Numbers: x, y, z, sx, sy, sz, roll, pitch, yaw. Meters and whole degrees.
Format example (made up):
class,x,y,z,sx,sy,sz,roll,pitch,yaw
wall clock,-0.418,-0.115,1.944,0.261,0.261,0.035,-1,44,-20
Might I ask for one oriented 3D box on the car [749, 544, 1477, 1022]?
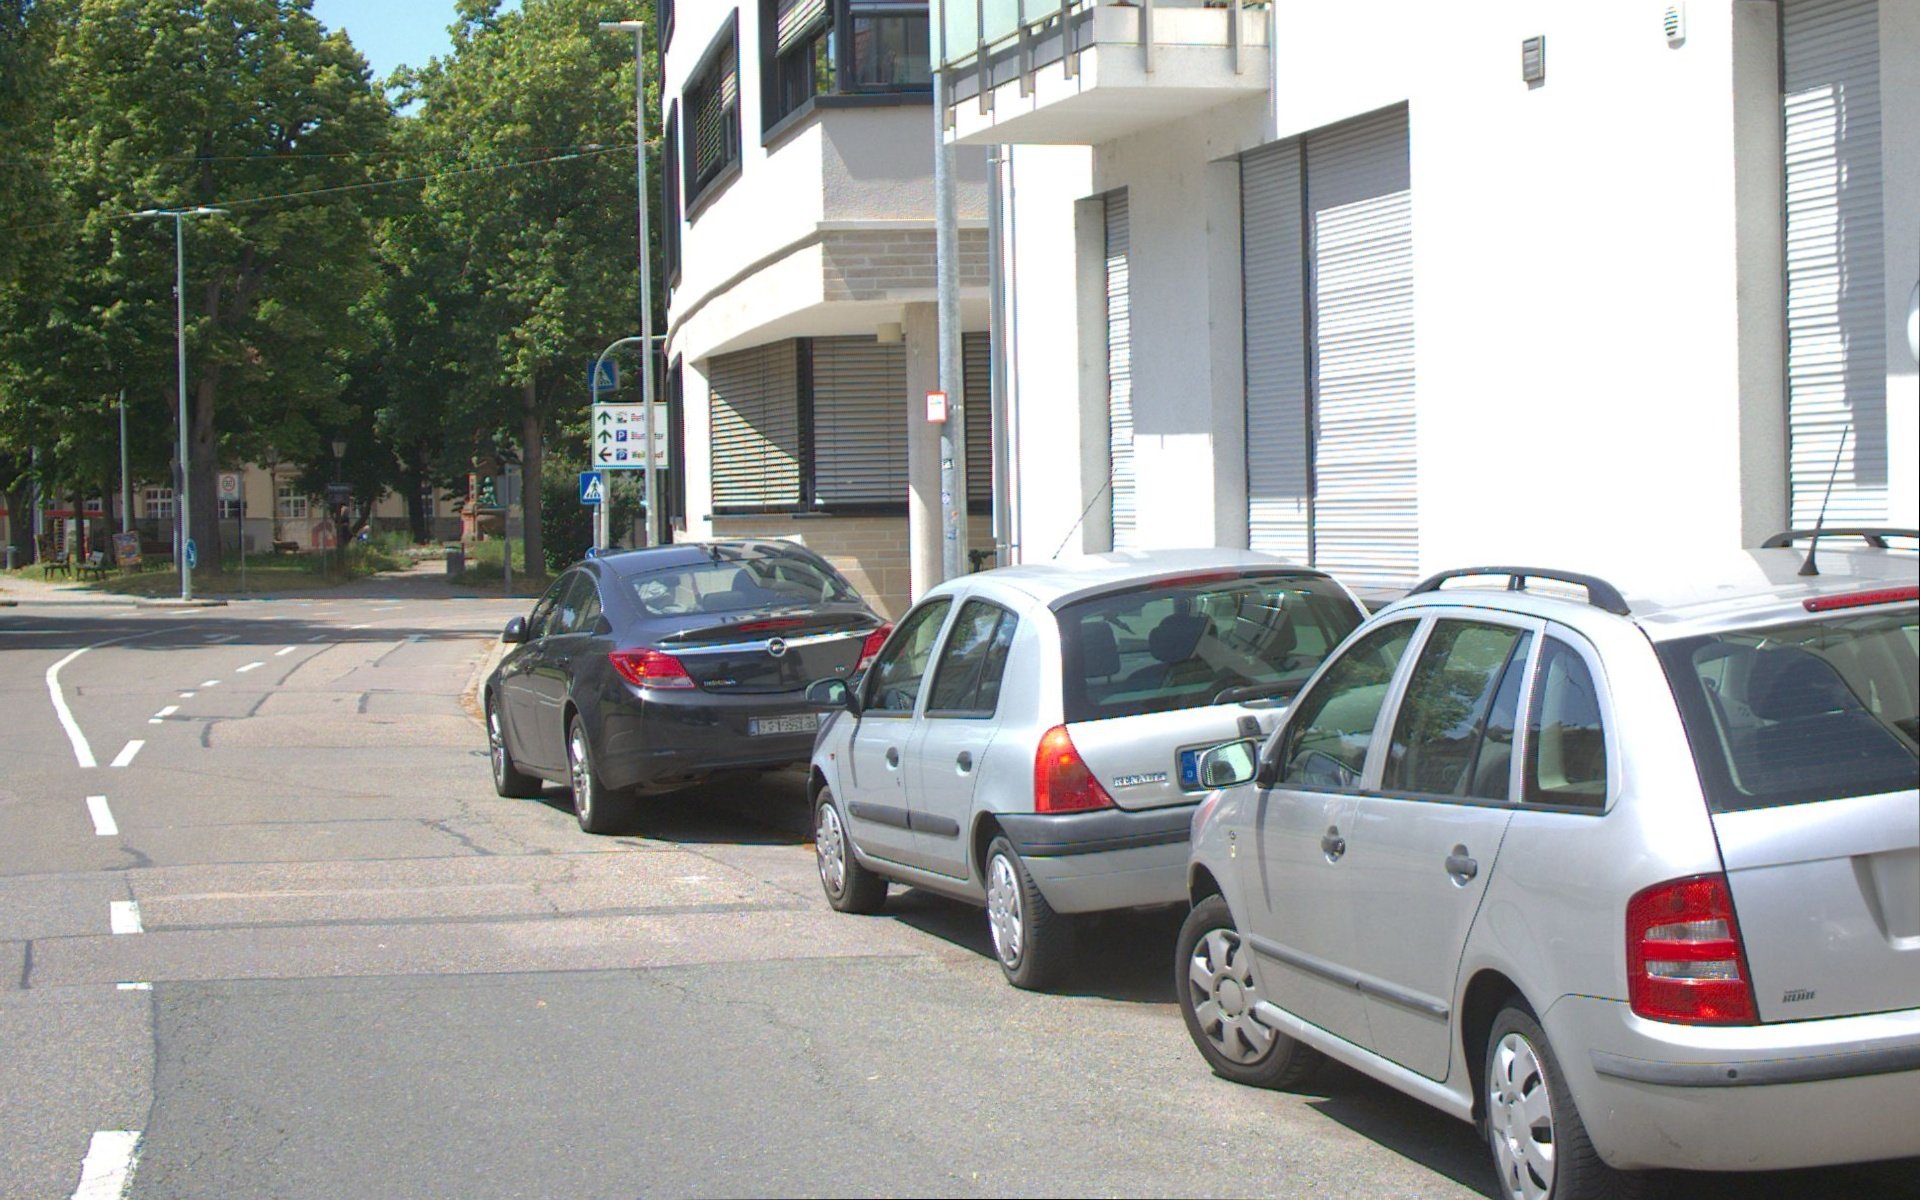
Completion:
class,x,y,z,sx,sy,sz,roll,pitch,yaw
car,0.421,0.572,13.164,1.592,1.428,3.708,-5,2,-16

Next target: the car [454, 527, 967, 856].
class,x,y,z,sx,sy,sz,roll,pitch,yaw
car,-1.559,0.431,19.545,1.799,1.504,4.549,-5,2,-17

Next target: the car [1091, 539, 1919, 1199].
class,x,y,z,sx,sy,sz,roll,pitch,yaw
car,1.704,0.633,8.534,1.726,1.428,4.044,-5,2,-12

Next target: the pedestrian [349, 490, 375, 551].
class,x,y,z,sx,sy,sz,roll,pitch,yaw
pedestrian,-18.735,-2.487,107.693,0.747,1.904,0.684,0,3,-5
